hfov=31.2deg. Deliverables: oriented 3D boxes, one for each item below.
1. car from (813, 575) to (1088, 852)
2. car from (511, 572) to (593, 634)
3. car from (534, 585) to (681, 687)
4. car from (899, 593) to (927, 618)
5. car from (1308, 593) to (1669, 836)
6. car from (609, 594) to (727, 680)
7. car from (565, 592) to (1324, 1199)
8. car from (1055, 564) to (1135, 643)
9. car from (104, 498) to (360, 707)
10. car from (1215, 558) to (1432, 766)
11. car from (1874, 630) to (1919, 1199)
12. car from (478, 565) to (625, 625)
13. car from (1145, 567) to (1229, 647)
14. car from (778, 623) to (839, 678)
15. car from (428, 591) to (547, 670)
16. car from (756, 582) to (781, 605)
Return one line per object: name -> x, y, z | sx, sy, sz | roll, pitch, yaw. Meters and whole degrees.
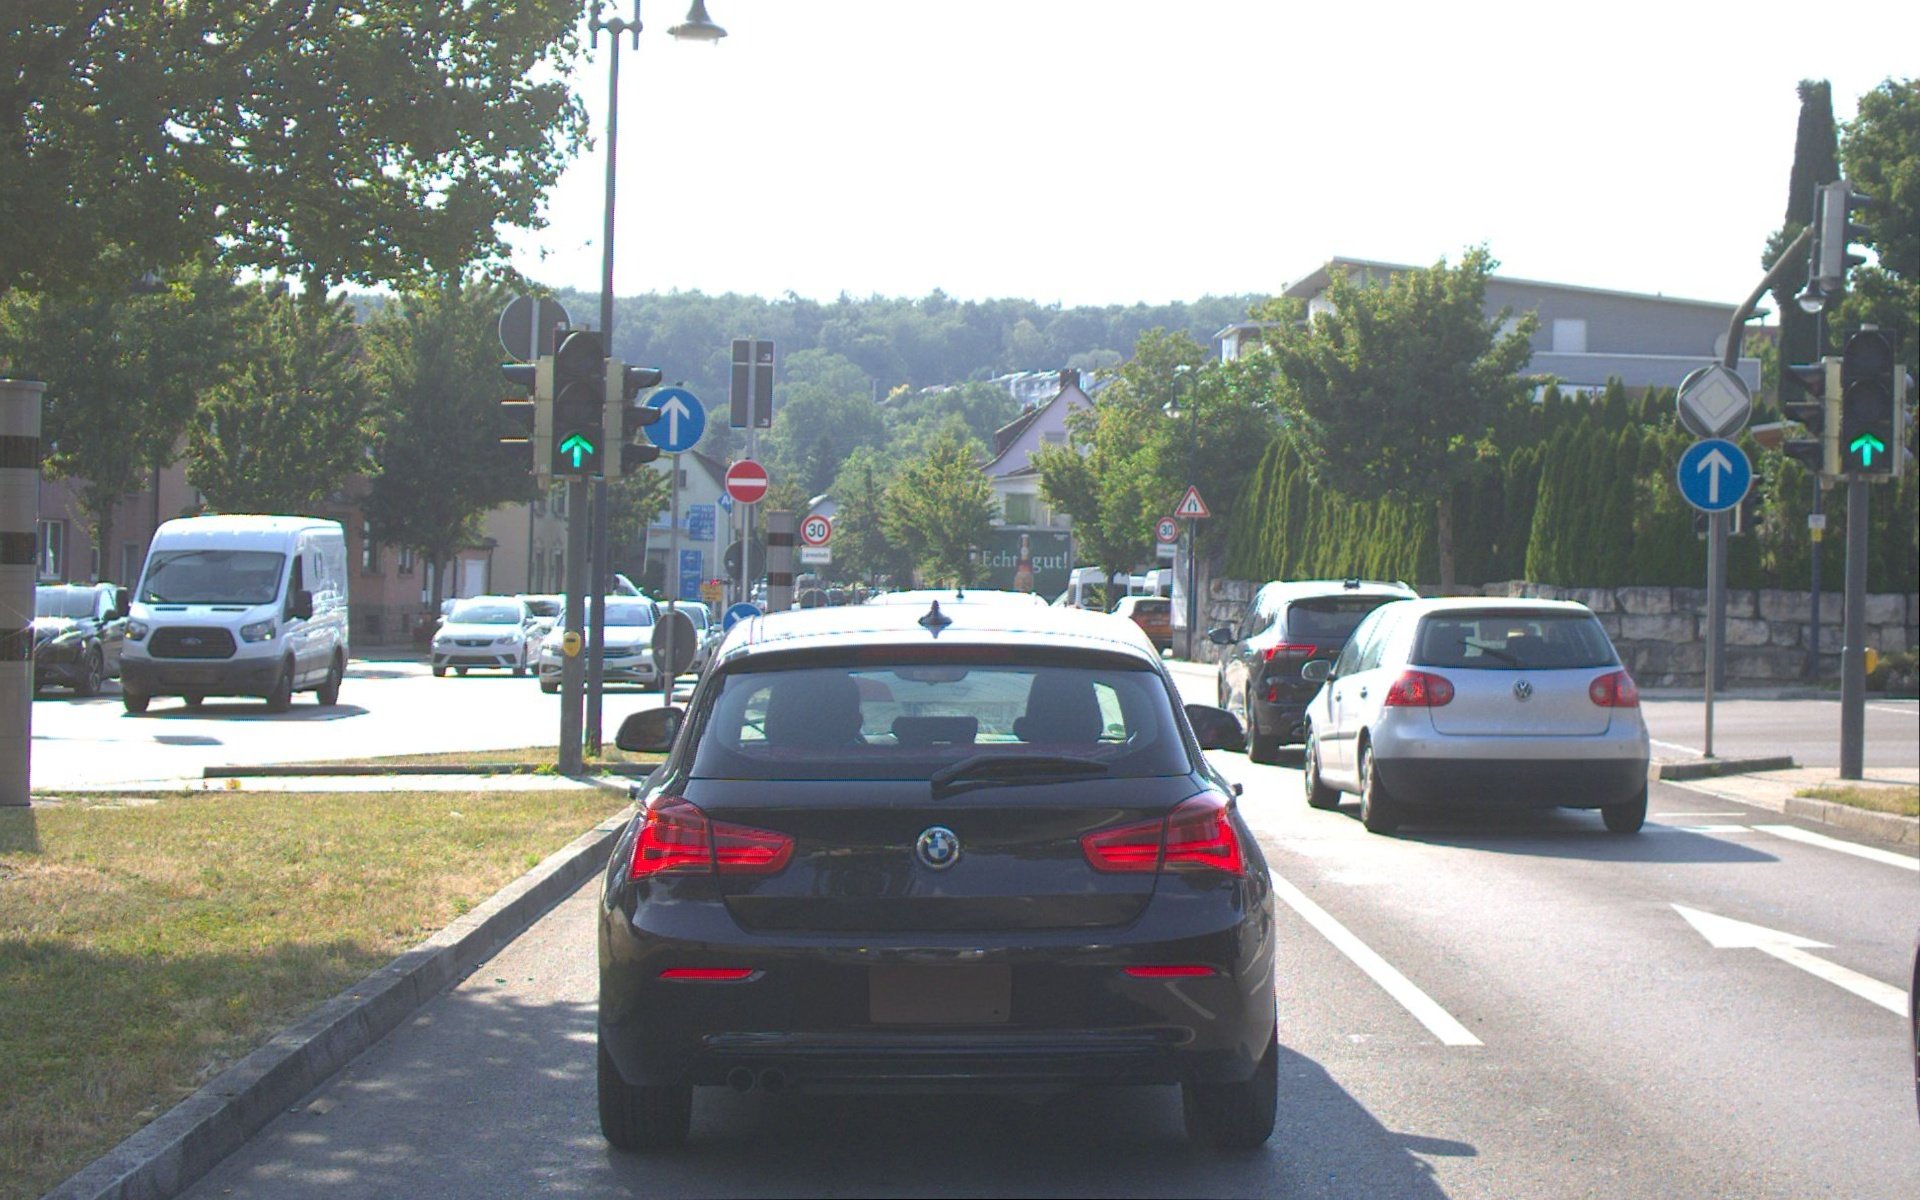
car -> -0.077, 0.649, 22.048 | 1.591, 1.595, 3.893 | 1, 0, -1
car -> -10.985, 0.072, 92.692 | 1.686, 1.606, 4.413 | 1, 0, 0
car -> -5.459, 0.533, 53.768 | 1.835, 1.483, 4.566 | 1, 0, 0
car -> -2.939, 0.329, 215.745 | 1.596, 1.480, 3.475 | 2, 0, -3
car -> 3.325, 0.680, 22.204 | 1.753, 1.409, 3.422 | 1, 0, -1
car -> -4.983, 0.620, 59.056 | 1.589, 1.422, 3.578 | 1, 0, 2
car -> -0.057, 0.732, 9.910 | 1.771, 1.451, 3.516 | 1, 1, -1
car -> 4.701, 0.087, 121.001 | 2.149, 2.671, 6.604 | 1, 0, -3
car -> -9.147, 0.005, 43.683 | 2.084, 2.467, 5.479 | 1, 0, 0
car -> 3.245, 0.516, 31.199 | 1.603, 1.761, 3.411 | 1, 0, 0
car -> 3.168, 0.780, 6.449 | 1.699, 1.364, 4.262 | 0, 1, -1
car -> -17.861, -0.212, 150.425 | 6.158, 2.436, 2.249 | 2, 0, -1
car -> 7.976, 0.205, 121.331 | 2.111, 2.712, 6.444 | 1, 0, -4
car -> -4.332, 1.433, 98.623 | 1.532, 1.457, 3.506 | 1, 0, 1
car -> -8.987, 0.557, 65.623 | 1.757, 1.406, 4.000 | 1, 0, -1
car -> -12.738, -0.442, 228.915 | 1.596, 1.480, 3.475 | 2, 0, -3
